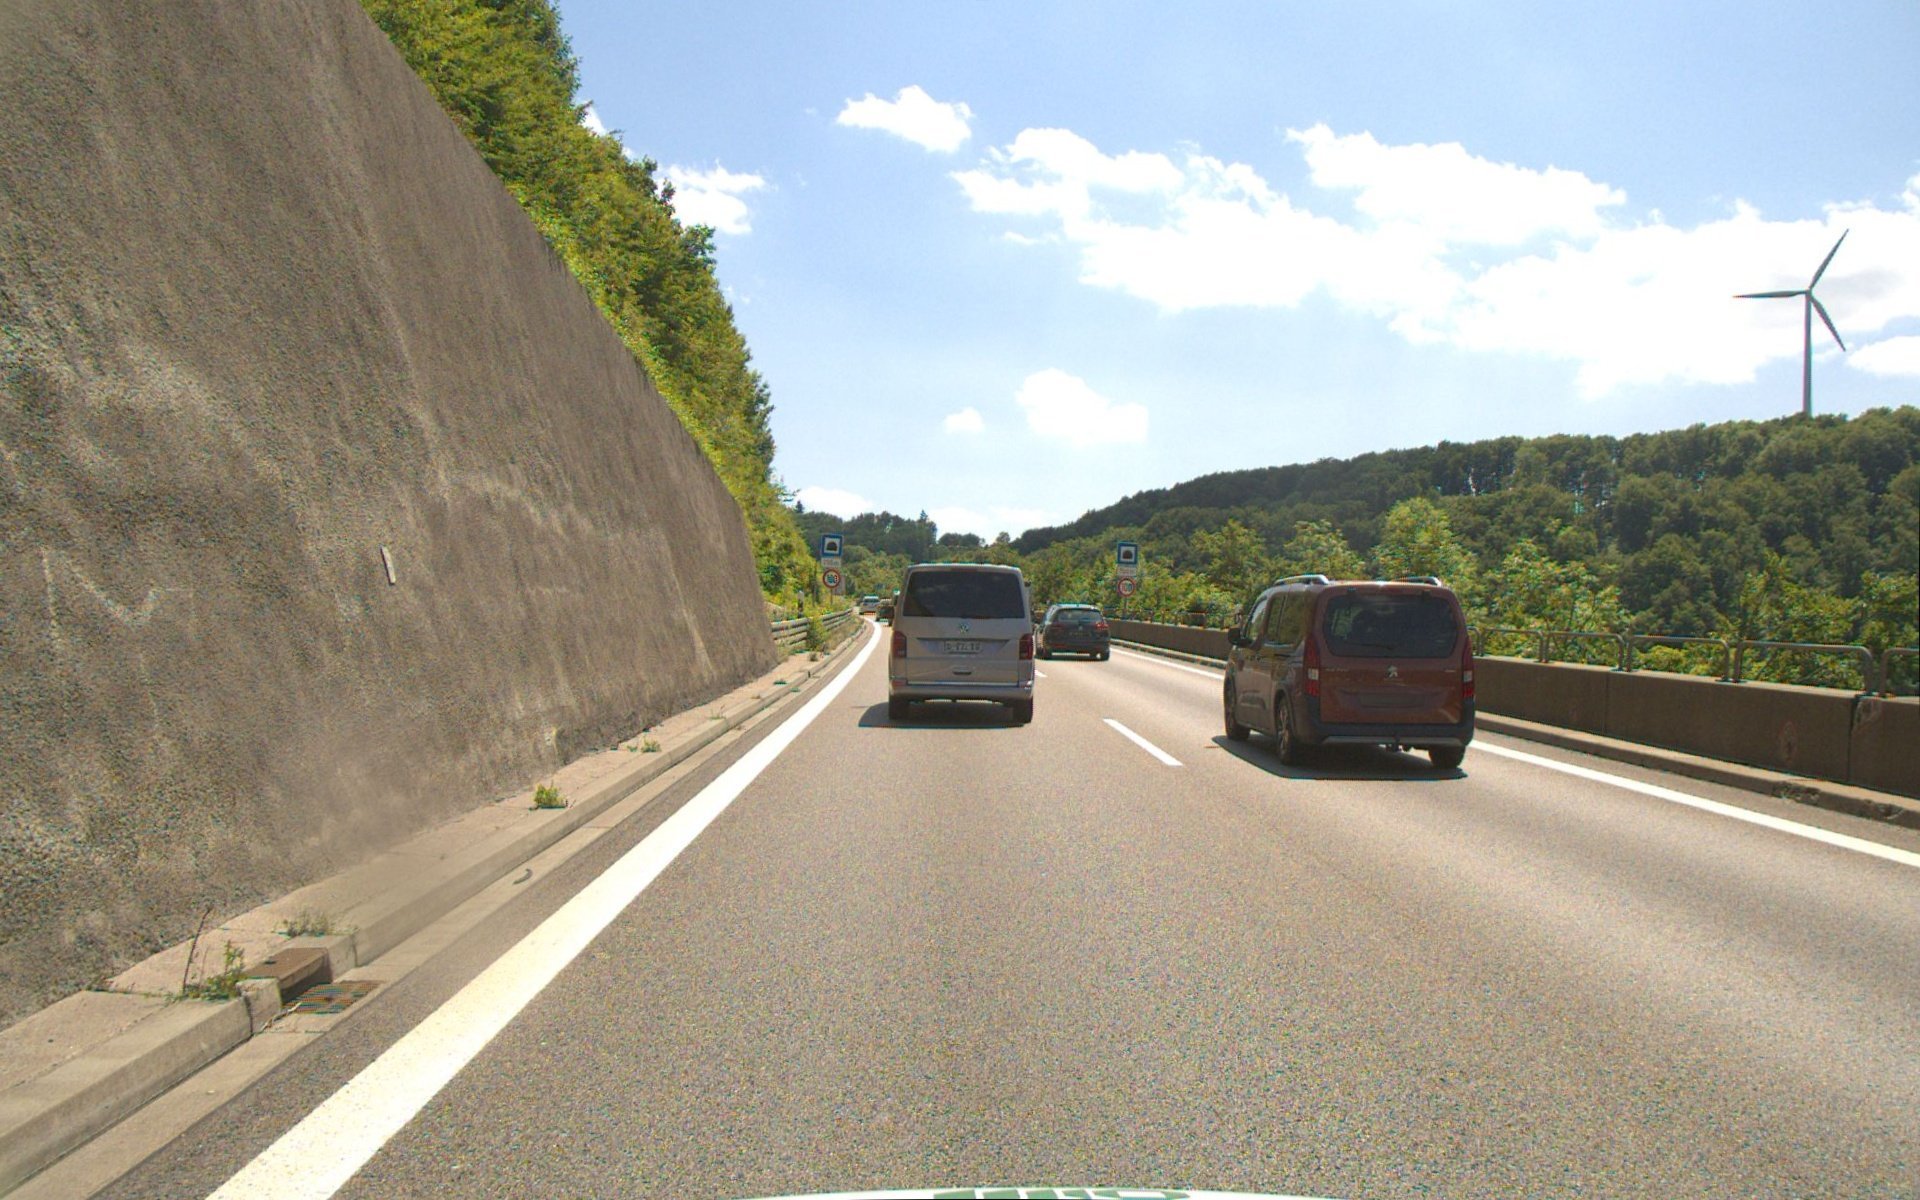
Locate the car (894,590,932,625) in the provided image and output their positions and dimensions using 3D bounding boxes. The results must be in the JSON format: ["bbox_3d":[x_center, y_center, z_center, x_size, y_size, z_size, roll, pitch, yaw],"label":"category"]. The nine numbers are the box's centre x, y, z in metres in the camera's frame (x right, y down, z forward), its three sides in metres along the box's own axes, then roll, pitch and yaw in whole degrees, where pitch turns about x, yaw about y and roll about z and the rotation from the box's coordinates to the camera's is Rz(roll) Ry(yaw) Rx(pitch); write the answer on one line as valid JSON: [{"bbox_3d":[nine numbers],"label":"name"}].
[{"bbox_3d":[-2.608,0.415,90.930,1.954,1.849,3.997,1,0,-3],"label":"car"}]

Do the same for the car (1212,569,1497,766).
[{"bbox_3d":[4.004,0.647,17.613,1.796,1.815,4.674,0,-1,-2],"label":"car"}]

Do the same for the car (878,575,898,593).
[{"bbox_3d":[-8.654,-1.883,198.526,1.956,2.049,3.992,1,0,-8],"label":"car"}]

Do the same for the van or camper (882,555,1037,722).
[{"bbox_3d":[-0.020,0.467,22.135,1.837,1.983,4.293,1,0,0],"label":"van or camper"}]

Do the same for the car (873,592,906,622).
[{"bbox_3d":[-4.720,0.470,110.320,1.955,1.948,3.995,1,0,-6],"label":"car"}]

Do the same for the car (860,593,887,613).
[{"bbox_3d":[-7.570,0.255,143.727,2.101,1.635,5.071,0,-1,-6],"label":"car"}]

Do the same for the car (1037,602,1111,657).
[{"bbox_3d":[3.064,0.784,45.063,1.732,1.400,3.592,1,0,0],"label":"car"}]

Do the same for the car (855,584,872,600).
[{"bbox_3d":[-12.463,-1.067,213.557,1.955,2.049,3.995,1,0,-5],"label":"car"}]

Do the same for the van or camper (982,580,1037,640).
[{"bbox_3d":[2.186,0.445,74.919,2.218,2.596,4.735,0,0,-1],"label":"van or camper"}]

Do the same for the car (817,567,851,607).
[{"bbox_3d":[-16.097,-1.616,211.123,3.965,4.956,10.096,1,0,-6],"label":"car"}]
